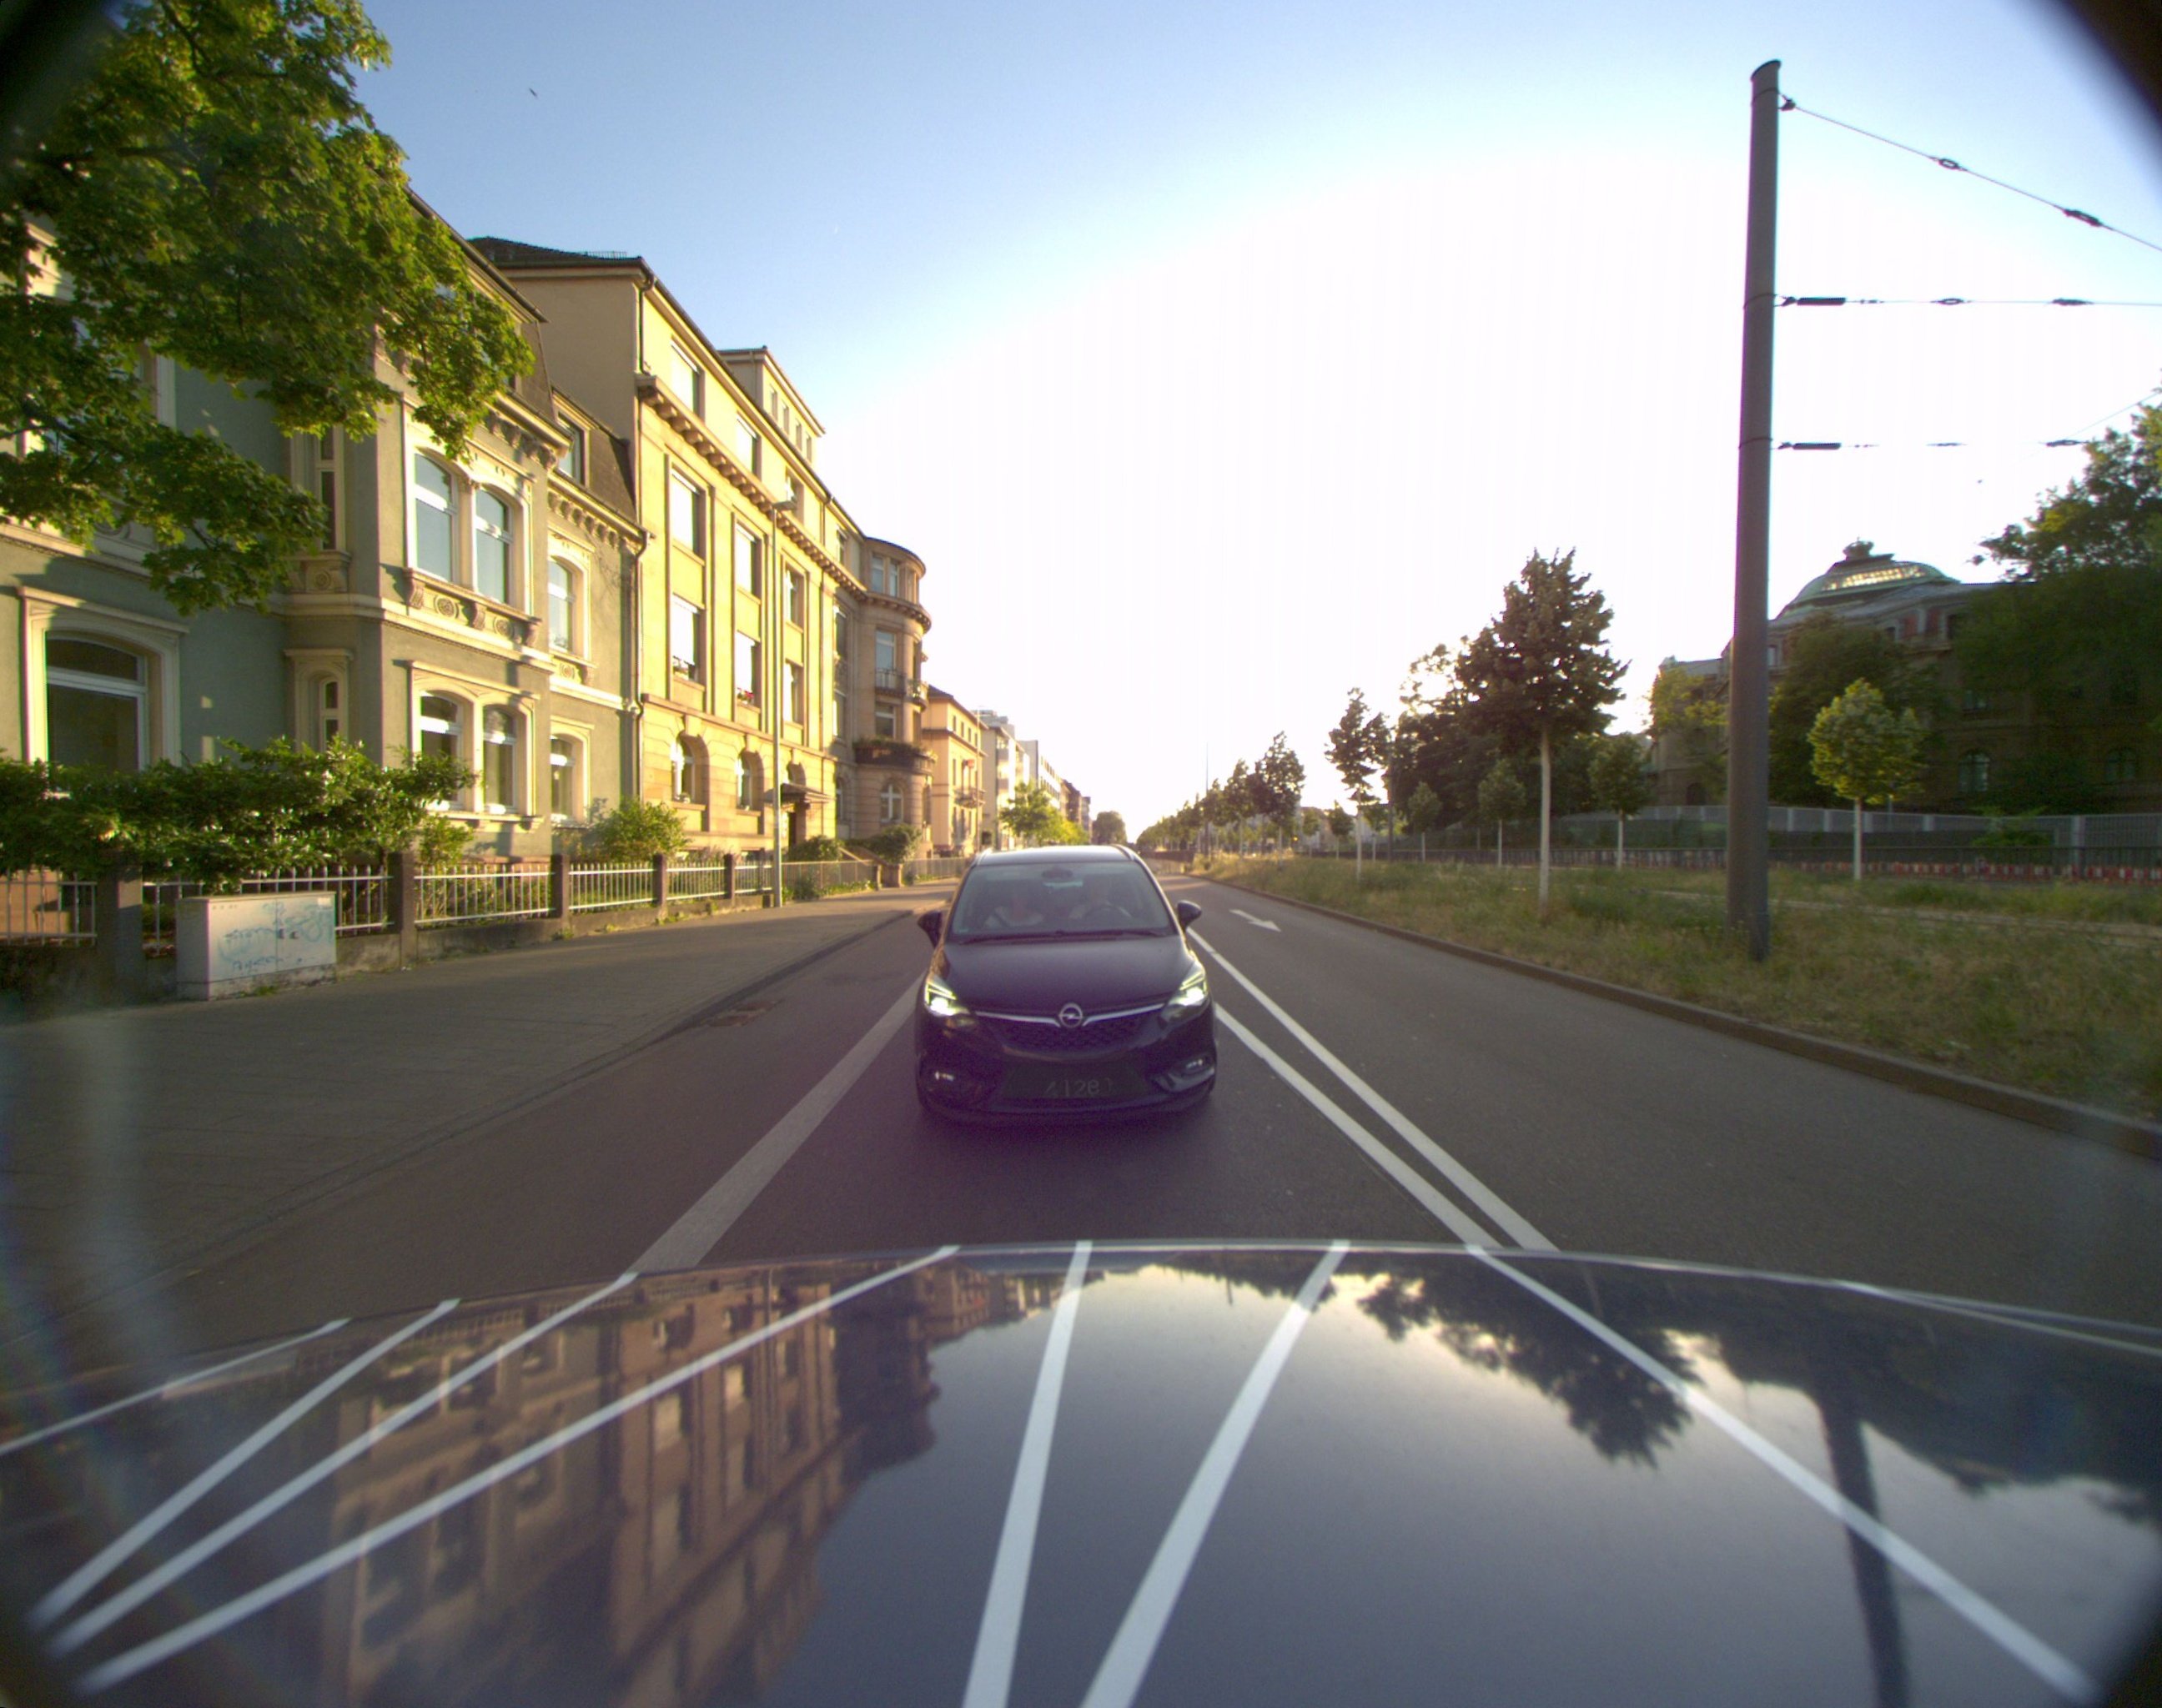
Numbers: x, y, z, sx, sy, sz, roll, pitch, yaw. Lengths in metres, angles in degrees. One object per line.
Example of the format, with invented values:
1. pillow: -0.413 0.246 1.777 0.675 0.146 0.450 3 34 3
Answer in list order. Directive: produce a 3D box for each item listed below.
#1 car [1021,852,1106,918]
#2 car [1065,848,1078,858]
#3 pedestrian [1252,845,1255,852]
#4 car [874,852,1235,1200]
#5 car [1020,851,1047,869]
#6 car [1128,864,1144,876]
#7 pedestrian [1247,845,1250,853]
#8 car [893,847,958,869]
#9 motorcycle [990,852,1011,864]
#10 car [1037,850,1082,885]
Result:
1. car: -0.457 0.725 19.321 1.859 1.425 4.842 -2 -1 -2
2. car: -1.433 -0.176 121.391 1.937 1.472 4.100 -1 0 1
3. pedestrian: 41.065 -1.259 181.372 0.646 1.702 0.838 0 1 10
4. car: -0.254 0.839 6.201 1.771 1.649 4.850 -1 1 -3
5. car: -3.853 0.443 62.832 1.882 1.394 4.100 -1 0 1
6. car: 6.852 1.936 94.144 1.858 1.425 4.844 -2 -1 4
7. pedestrian: 39.902 -1.195 181.453 0.646 1.702 0.838 0 1 10
8. car: -11.011 0.253 53.938 4.096 1.472 1.938 -1 1 3
9. motorcycle: -7.464 0.375 70.266 1.848 1.090 0.576 -1 1 8
10. car: -0.941 0.603 34.538 1.859 1.425 4.843 -2 -1 0
